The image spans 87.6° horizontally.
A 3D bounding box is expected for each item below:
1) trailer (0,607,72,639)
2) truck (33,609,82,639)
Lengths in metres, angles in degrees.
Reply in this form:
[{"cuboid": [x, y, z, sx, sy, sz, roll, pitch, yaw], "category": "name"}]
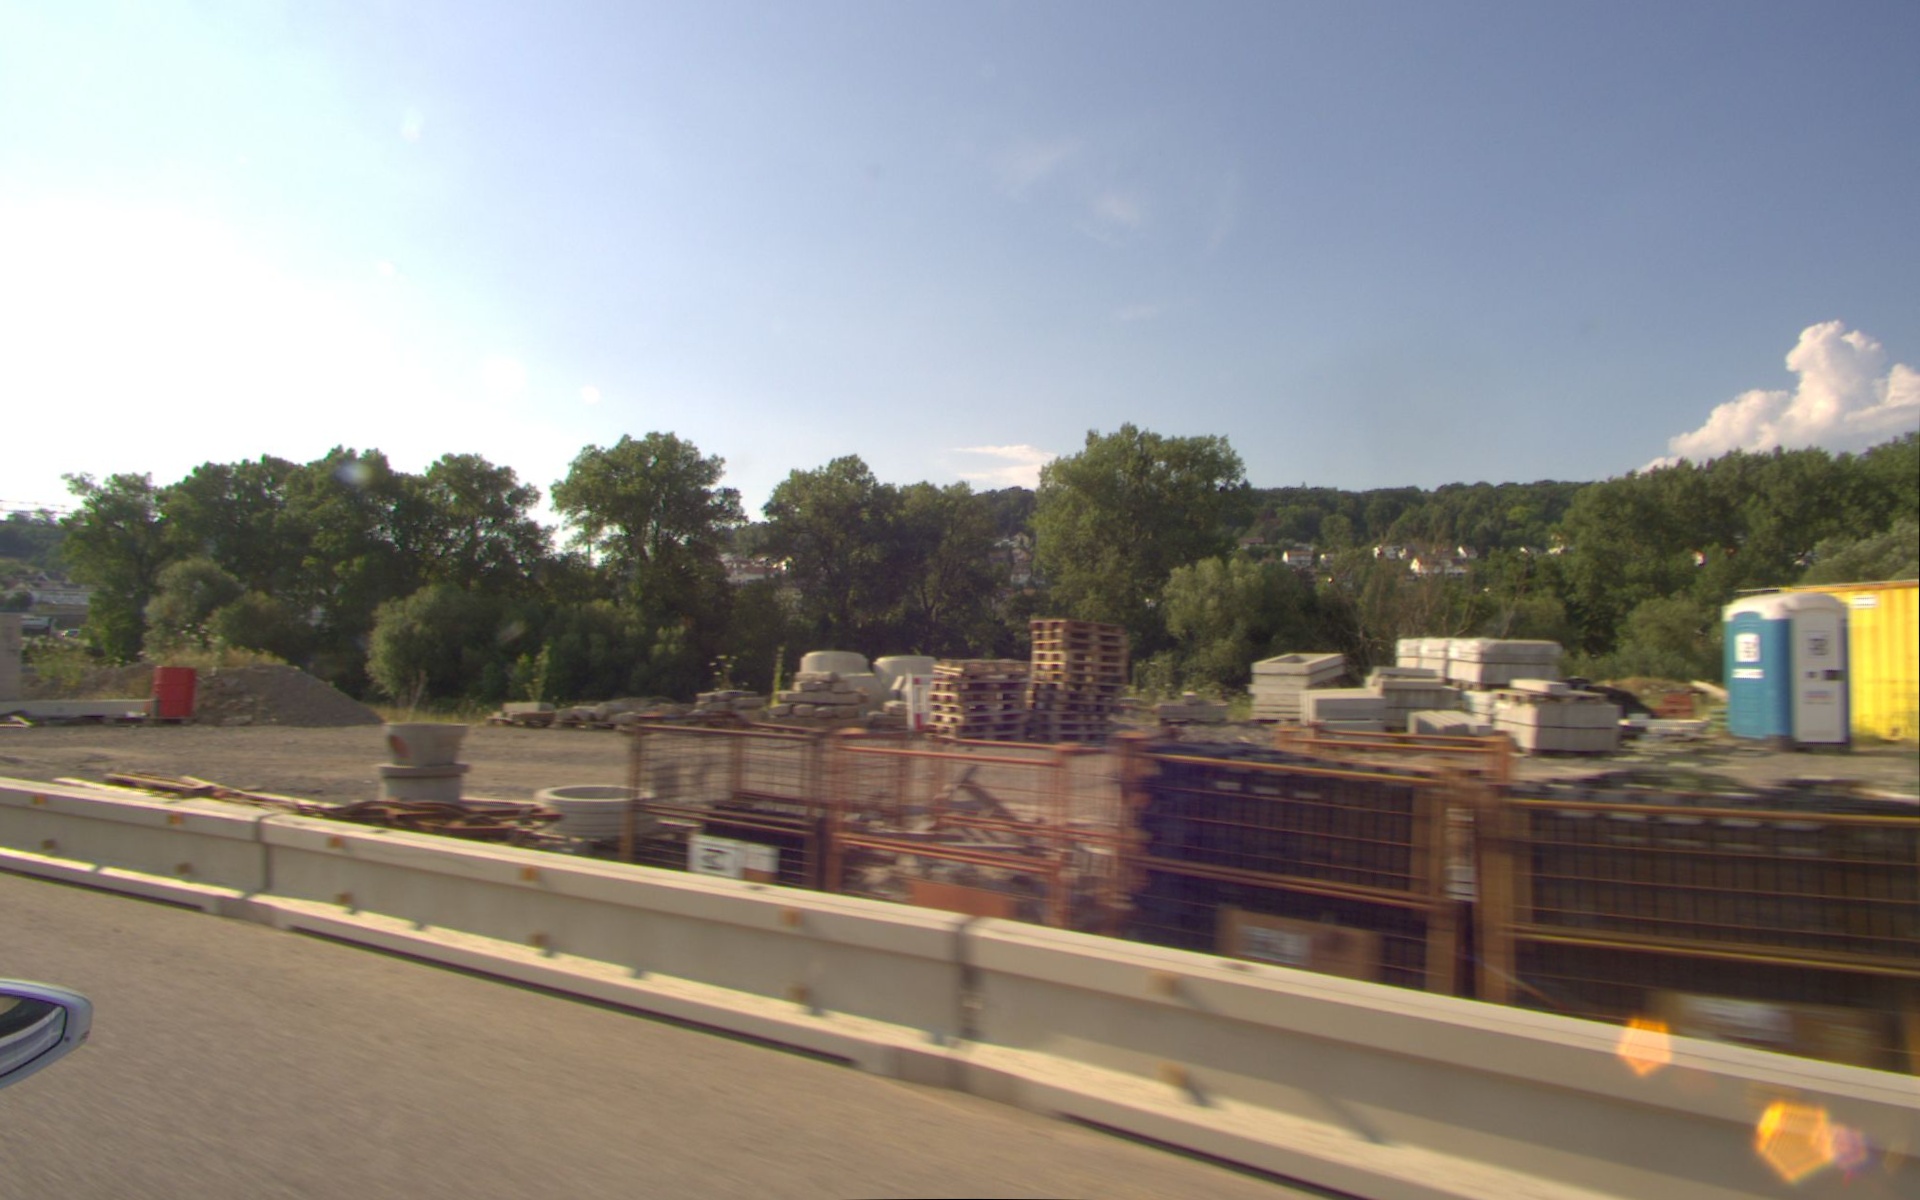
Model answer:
[{"cuboid": [-135.926, 3.422, 146.824, 3.061, 4.367, 14.228, 2, -3, -18], "category": "trailer"}, {"cuboid": [-138.082, 3.704, 153.301, 3.055, 4.338, 6.613, 2, -3, -18], "category": "truck"}]
